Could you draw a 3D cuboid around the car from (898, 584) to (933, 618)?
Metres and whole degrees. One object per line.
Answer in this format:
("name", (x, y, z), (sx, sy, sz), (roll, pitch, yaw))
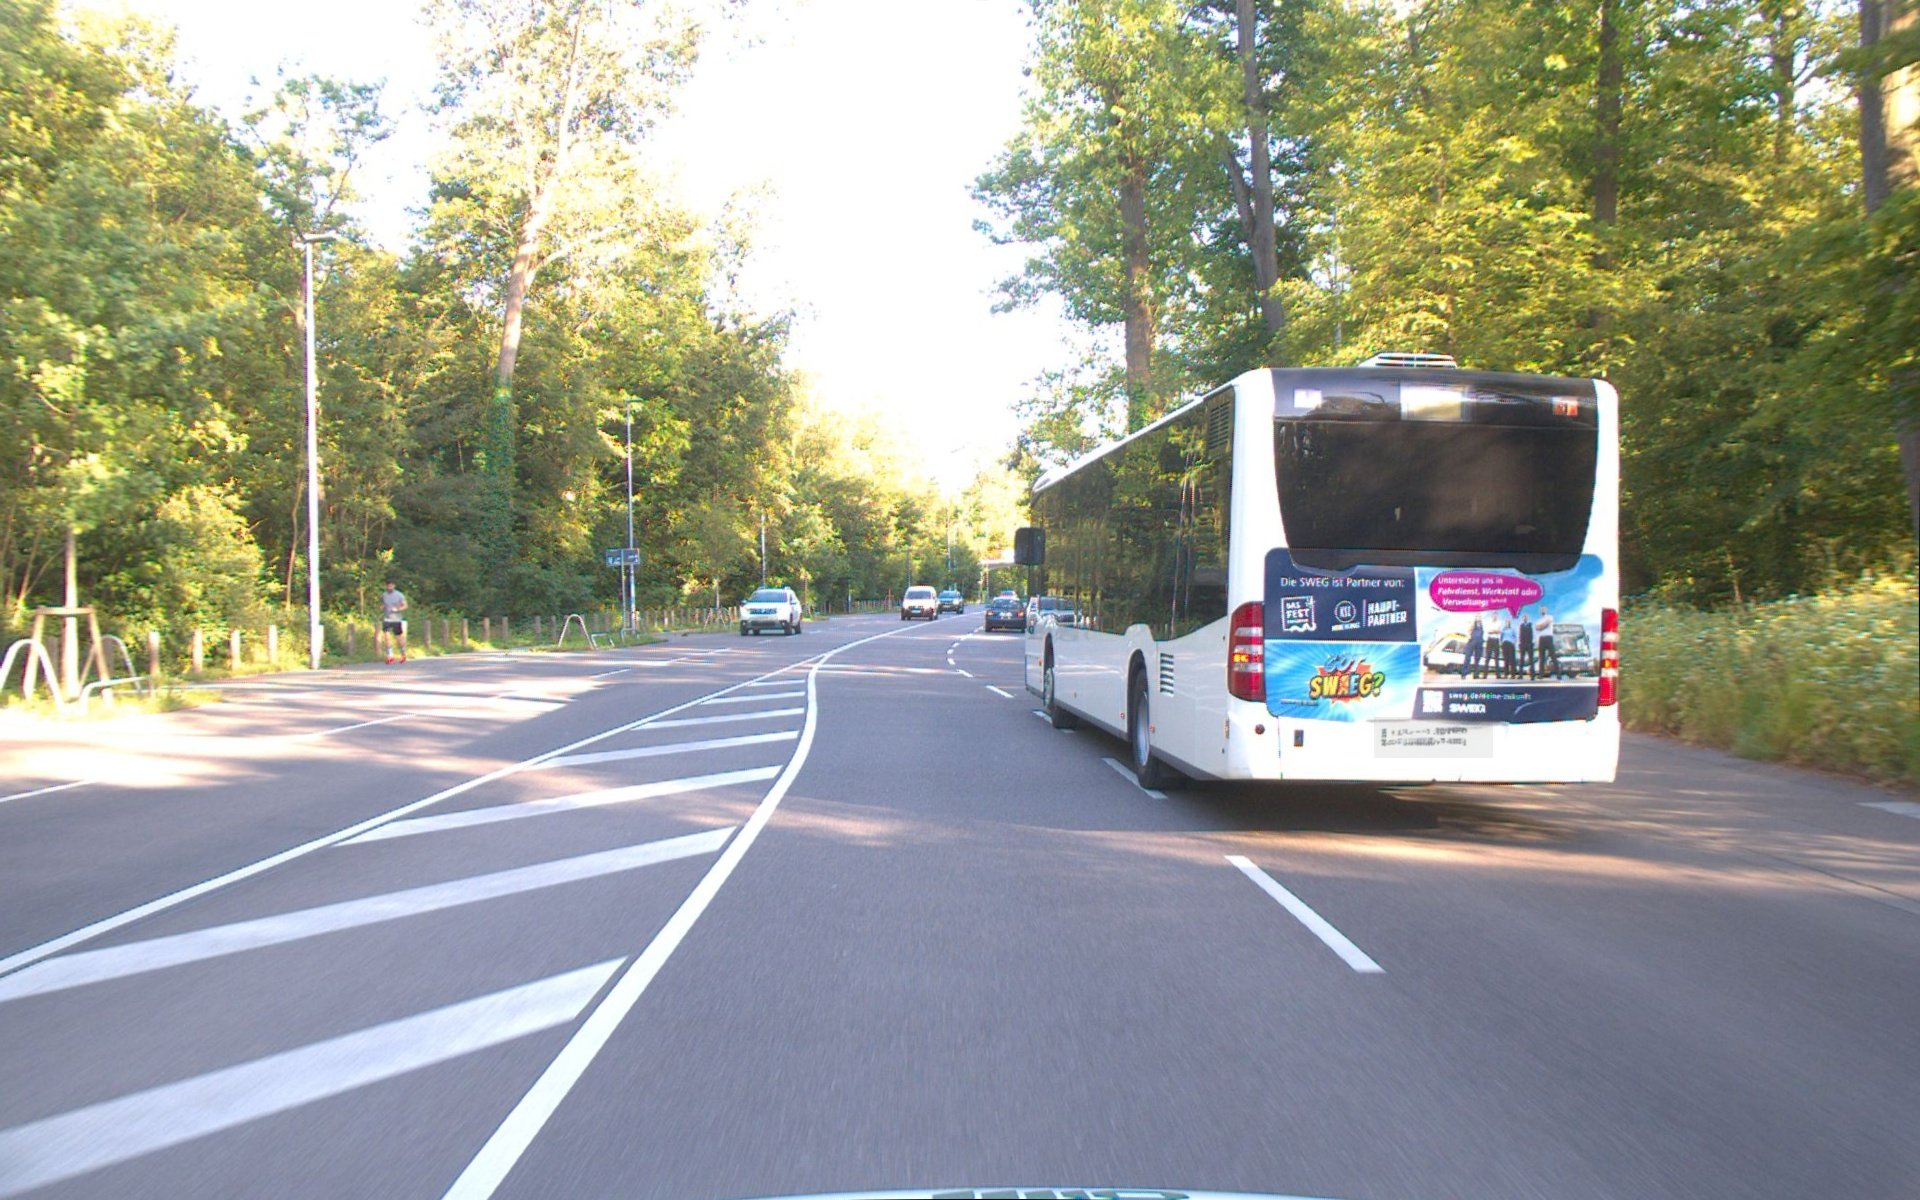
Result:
("car", (-2.409, 0.071, 90.045), (1.825, 1.759, 3.999), (0, 0, -1))

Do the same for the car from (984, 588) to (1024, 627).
("car", (1.818, 0.310, 67.877), (1.598, 1.574, 4.133), (0, 0, 2))

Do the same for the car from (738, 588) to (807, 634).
("car", (-6.617, 0.378, 58.817), (1.824, 1.564, 4.133), (0, 0, 2))

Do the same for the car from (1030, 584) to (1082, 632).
("car", (3.591, 0.298, 61.310), (1.597, 1.688, 4.135), (0, 0, 7))

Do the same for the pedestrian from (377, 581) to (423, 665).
("pedestrian", (-12.439, 0.504, 36.757), (0.763, 1.844, 0.770), (0, 0, -2))

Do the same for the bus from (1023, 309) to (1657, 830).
("bus", (2.531, -0.137, 15.920), (2.636, 3.096, 12.031), (0, 0, -4))

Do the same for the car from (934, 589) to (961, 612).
("car", (-0.827, 0.045, 113.873), (1.825, 1.592, 4.000), (0, 0, 0))
